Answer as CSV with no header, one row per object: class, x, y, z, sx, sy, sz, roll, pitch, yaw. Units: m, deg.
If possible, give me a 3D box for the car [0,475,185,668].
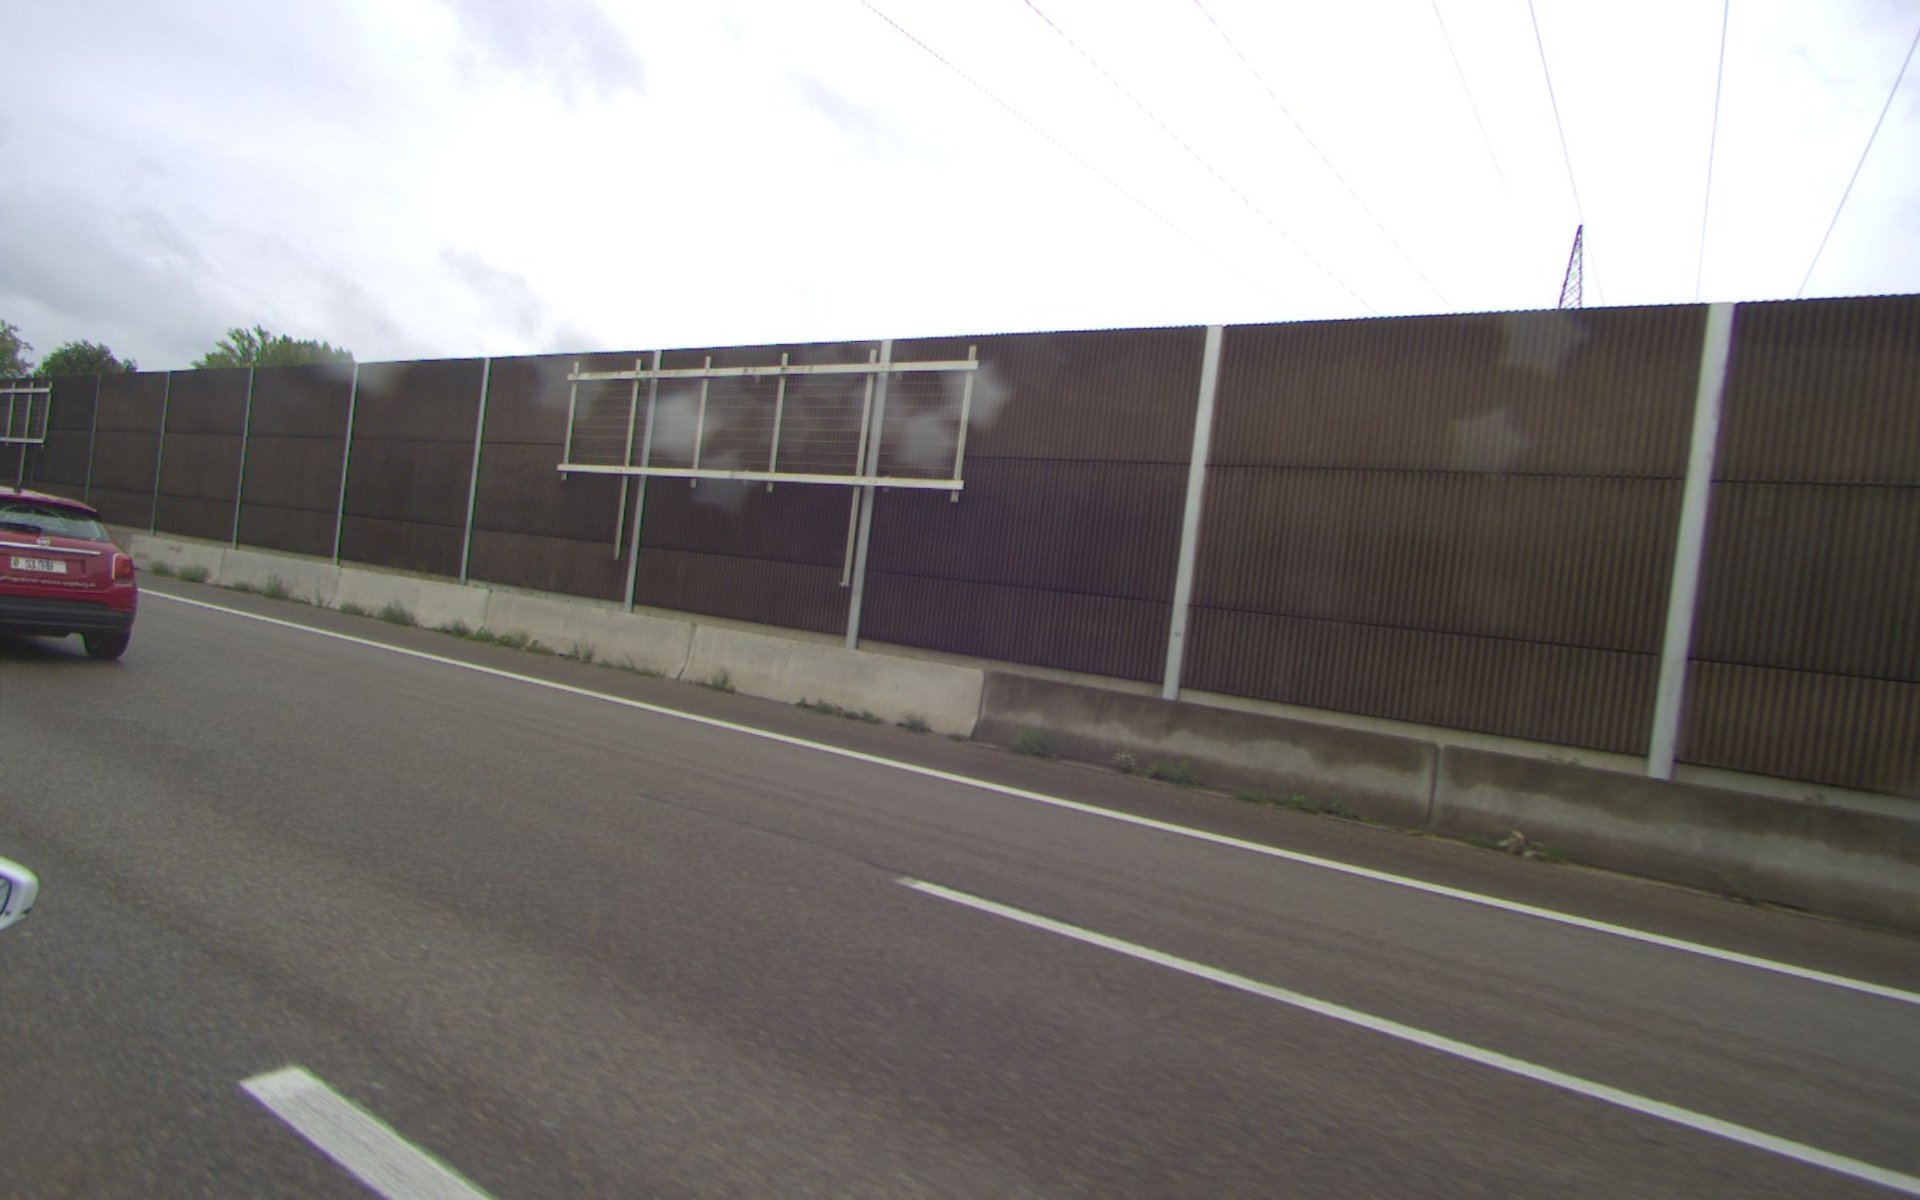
car,-10.033,-0.415,10.353,3.935,1.666,1.960,6,-2,33
